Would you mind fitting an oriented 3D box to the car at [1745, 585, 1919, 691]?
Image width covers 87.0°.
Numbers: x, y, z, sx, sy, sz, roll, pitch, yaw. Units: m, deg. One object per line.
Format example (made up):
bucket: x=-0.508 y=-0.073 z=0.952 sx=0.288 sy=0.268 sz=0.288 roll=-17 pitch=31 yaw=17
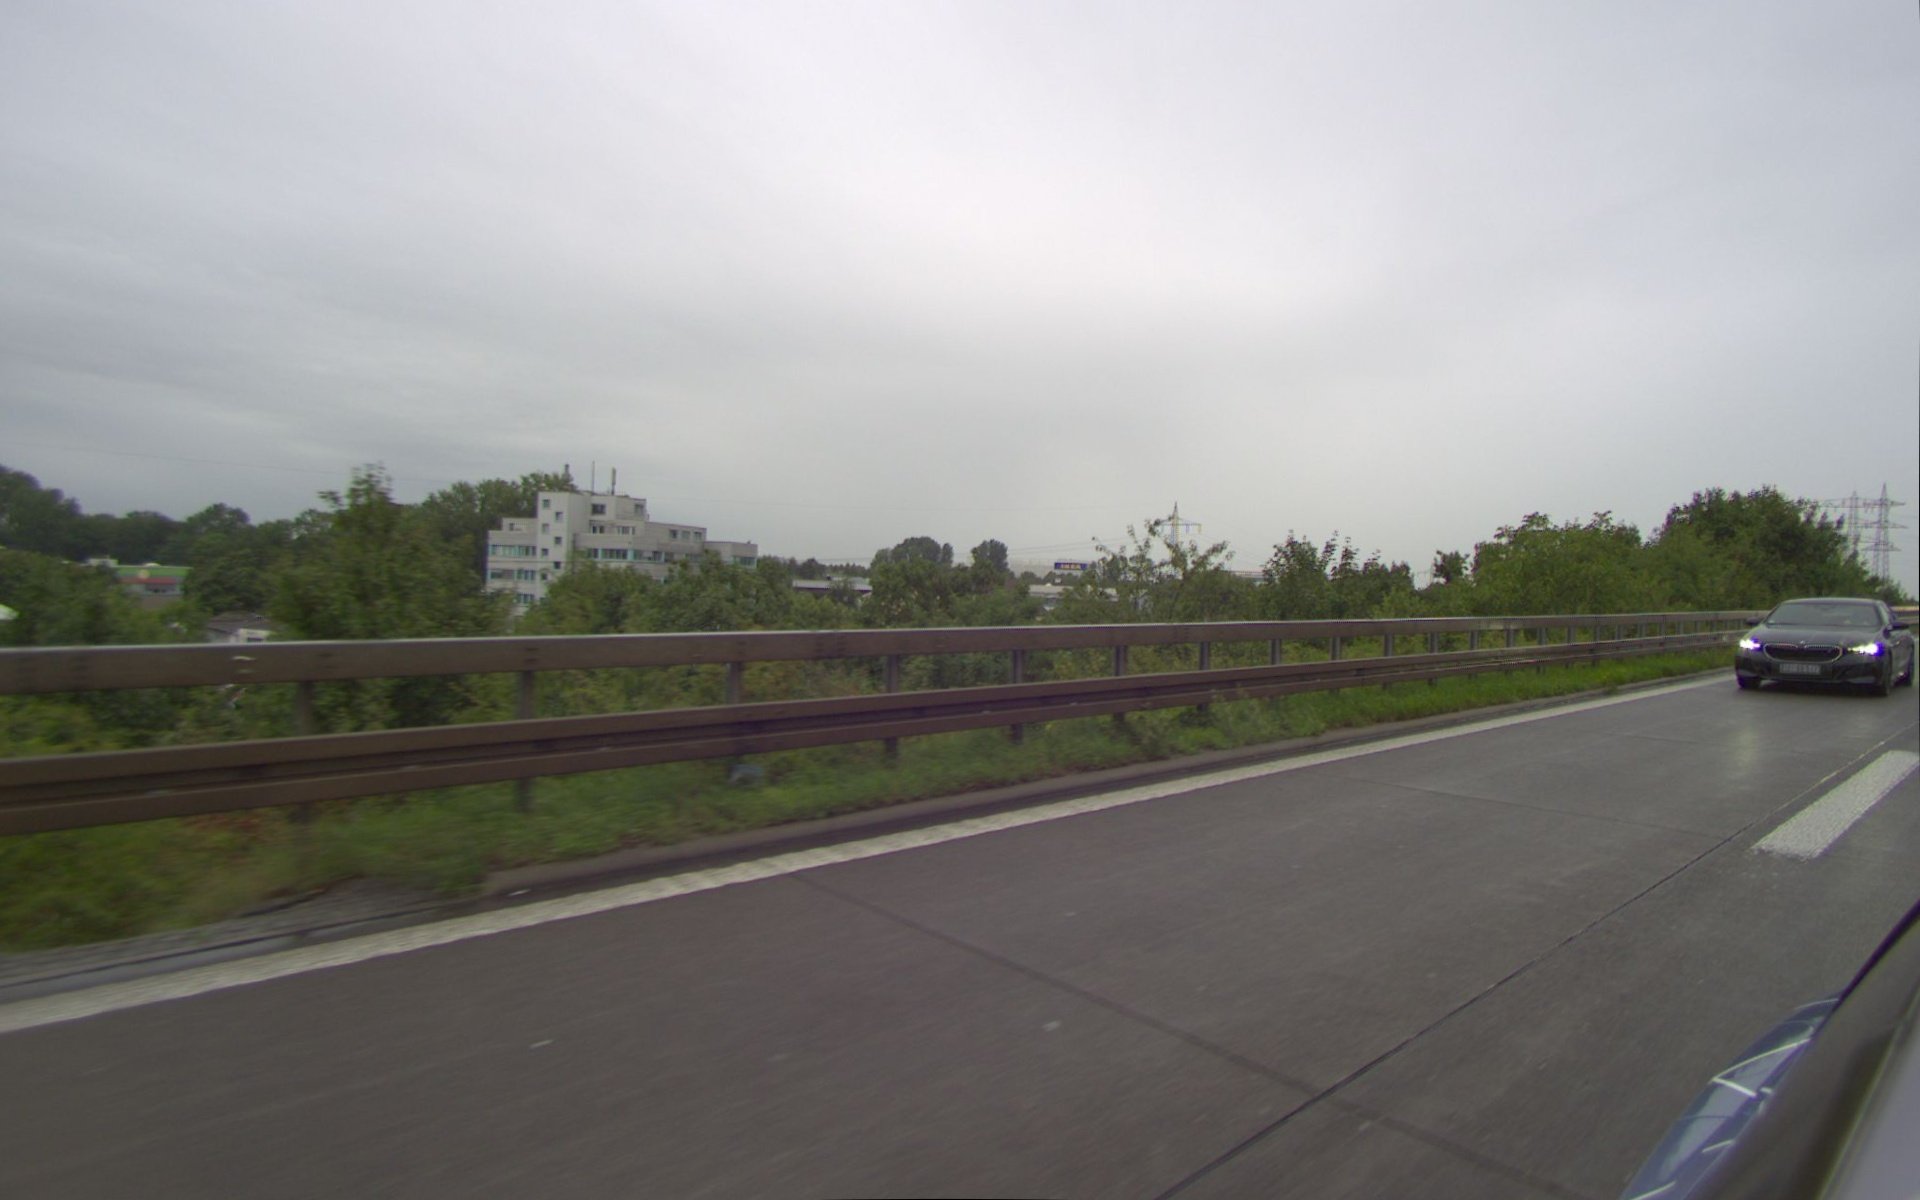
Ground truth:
car: x=14.740 y=0.575 z=16.934 sx=4.131 sy=1.560 sz=1.860 roll=1 pitch=0 yaw=-42
